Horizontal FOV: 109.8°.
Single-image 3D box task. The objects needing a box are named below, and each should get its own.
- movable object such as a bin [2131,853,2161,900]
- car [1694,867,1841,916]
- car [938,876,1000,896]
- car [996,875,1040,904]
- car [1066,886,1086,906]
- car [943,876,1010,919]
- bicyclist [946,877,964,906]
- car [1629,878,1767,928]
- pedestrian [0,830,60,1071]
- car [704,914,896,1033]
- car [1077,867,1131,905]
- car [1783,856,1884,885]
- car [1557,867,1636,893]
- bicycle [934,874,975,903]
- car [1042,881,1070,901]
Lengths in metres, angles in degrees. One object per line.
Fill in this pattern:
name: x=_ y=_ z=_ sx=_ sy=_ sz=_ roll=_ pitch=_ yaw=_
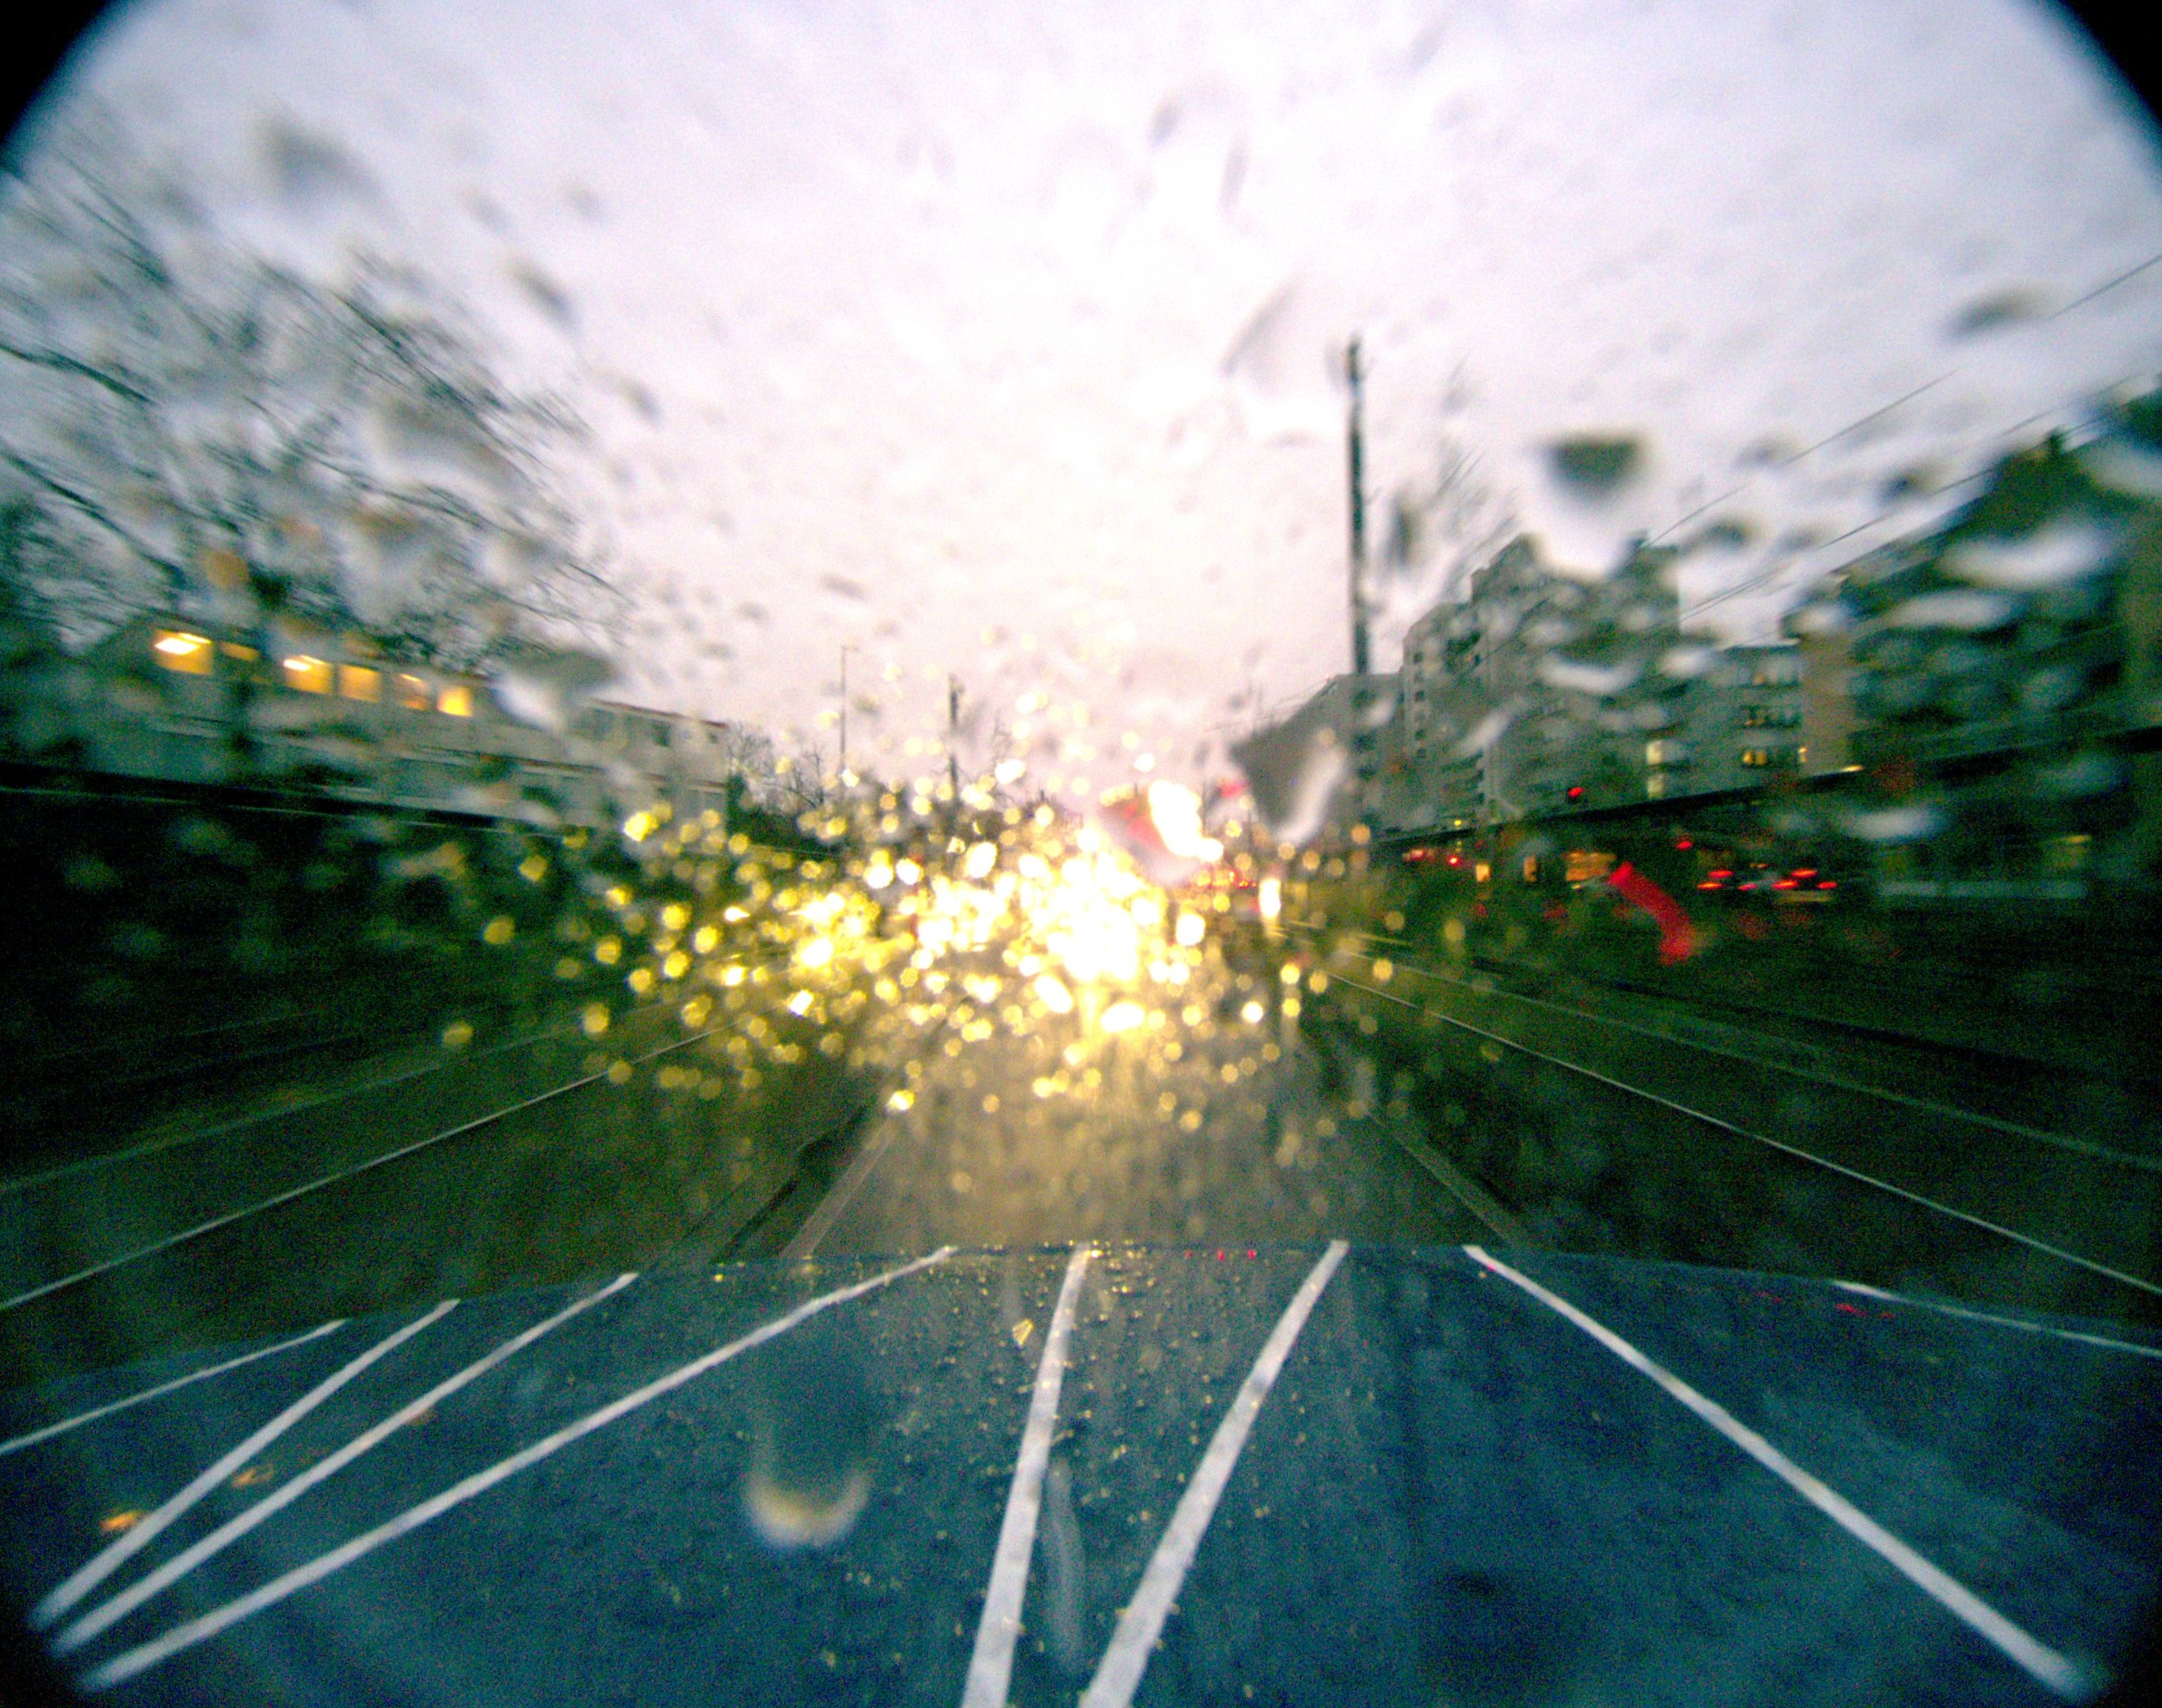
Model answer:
movable object such as a bin: x=36.156 y=0.751 z=25.021 sx=1.110 sy=1.551 sz=1.425 roll=0 pitch=-2 yaw=0
car: x=25.302 y=1.324 z=28.223 sx=1.805 sy=1.575 sz=4.001 roll=-3 pitch=-1 yaw=1
car: x=-8.887 y=2.560 z=60.534 sx=4.511 sy=1.480 sz=1.883 roll=-2 pitch=-1 yaw=8
car: x=-3.511 y=1.978 z=43.165 sx=1.777 sy=1.452 sz=4.043 roll=-2 pitch=-1 yaw=5
car: x=-0.431 y=3.950 z=71.578 sx=1.678 sy=1.738 sz=3.866 roll=-1 pitch=-1 yaw=2
car: x=-4.240 y=1.752 z=31.572 sx=1.791 sy=1.492 sz=4.969 roll=-2 pitch=-1 yaw=3
bicyclist: x=-7.540 y=2.245 z=45.546 sx=0.816 sy=1.669 sz=0.698 roll=-2 pitch=-1 yaw=9
car: x=22.535 y=1.741 z=27.962 sx=1.805 sy=1.575 sz=4.001 roll=-3 pitch=-1 yaw=1
pedestrian: x=-8.660 y=0.751 z=5.782 sx=0.533 sy=1.868 sz=0.901 roll=-1 pitch=-1 yaw=0
car: x=-4.736 y=1.962 z=13.469 sx=1.726 sy=1.470 sz=4.001 roll=-3 pitch=-1 yaw=2
car: x=1.030 y=1.322 z=32.876 sx=2.160 sy=1.489 sz=4.009 roll=-1 pitch=-1 yaw=2
car: x=42.608 y=0.942 z=43.079 sx=3.835 sy=1.542 sz=1.778 roll=-1 pitch=-1 yaw=1
car: x=33.957 y=1.713 z=50.142 sx=3.996 sy=1.502 sz=1.686 roll=-3 pitch=-1 yaw=1
bicycle: x=-7.607 y=2.072 z=45.584 sx=2.244 sy=1.647 sz=0.690 roll=-3 pitch=-1 yaw=6
car: x=-1.942 y=2.919 z=60.469 sx=1.880 sy=1.489 sz=4.079 roll=-1 pitch=-1 yaw=2
